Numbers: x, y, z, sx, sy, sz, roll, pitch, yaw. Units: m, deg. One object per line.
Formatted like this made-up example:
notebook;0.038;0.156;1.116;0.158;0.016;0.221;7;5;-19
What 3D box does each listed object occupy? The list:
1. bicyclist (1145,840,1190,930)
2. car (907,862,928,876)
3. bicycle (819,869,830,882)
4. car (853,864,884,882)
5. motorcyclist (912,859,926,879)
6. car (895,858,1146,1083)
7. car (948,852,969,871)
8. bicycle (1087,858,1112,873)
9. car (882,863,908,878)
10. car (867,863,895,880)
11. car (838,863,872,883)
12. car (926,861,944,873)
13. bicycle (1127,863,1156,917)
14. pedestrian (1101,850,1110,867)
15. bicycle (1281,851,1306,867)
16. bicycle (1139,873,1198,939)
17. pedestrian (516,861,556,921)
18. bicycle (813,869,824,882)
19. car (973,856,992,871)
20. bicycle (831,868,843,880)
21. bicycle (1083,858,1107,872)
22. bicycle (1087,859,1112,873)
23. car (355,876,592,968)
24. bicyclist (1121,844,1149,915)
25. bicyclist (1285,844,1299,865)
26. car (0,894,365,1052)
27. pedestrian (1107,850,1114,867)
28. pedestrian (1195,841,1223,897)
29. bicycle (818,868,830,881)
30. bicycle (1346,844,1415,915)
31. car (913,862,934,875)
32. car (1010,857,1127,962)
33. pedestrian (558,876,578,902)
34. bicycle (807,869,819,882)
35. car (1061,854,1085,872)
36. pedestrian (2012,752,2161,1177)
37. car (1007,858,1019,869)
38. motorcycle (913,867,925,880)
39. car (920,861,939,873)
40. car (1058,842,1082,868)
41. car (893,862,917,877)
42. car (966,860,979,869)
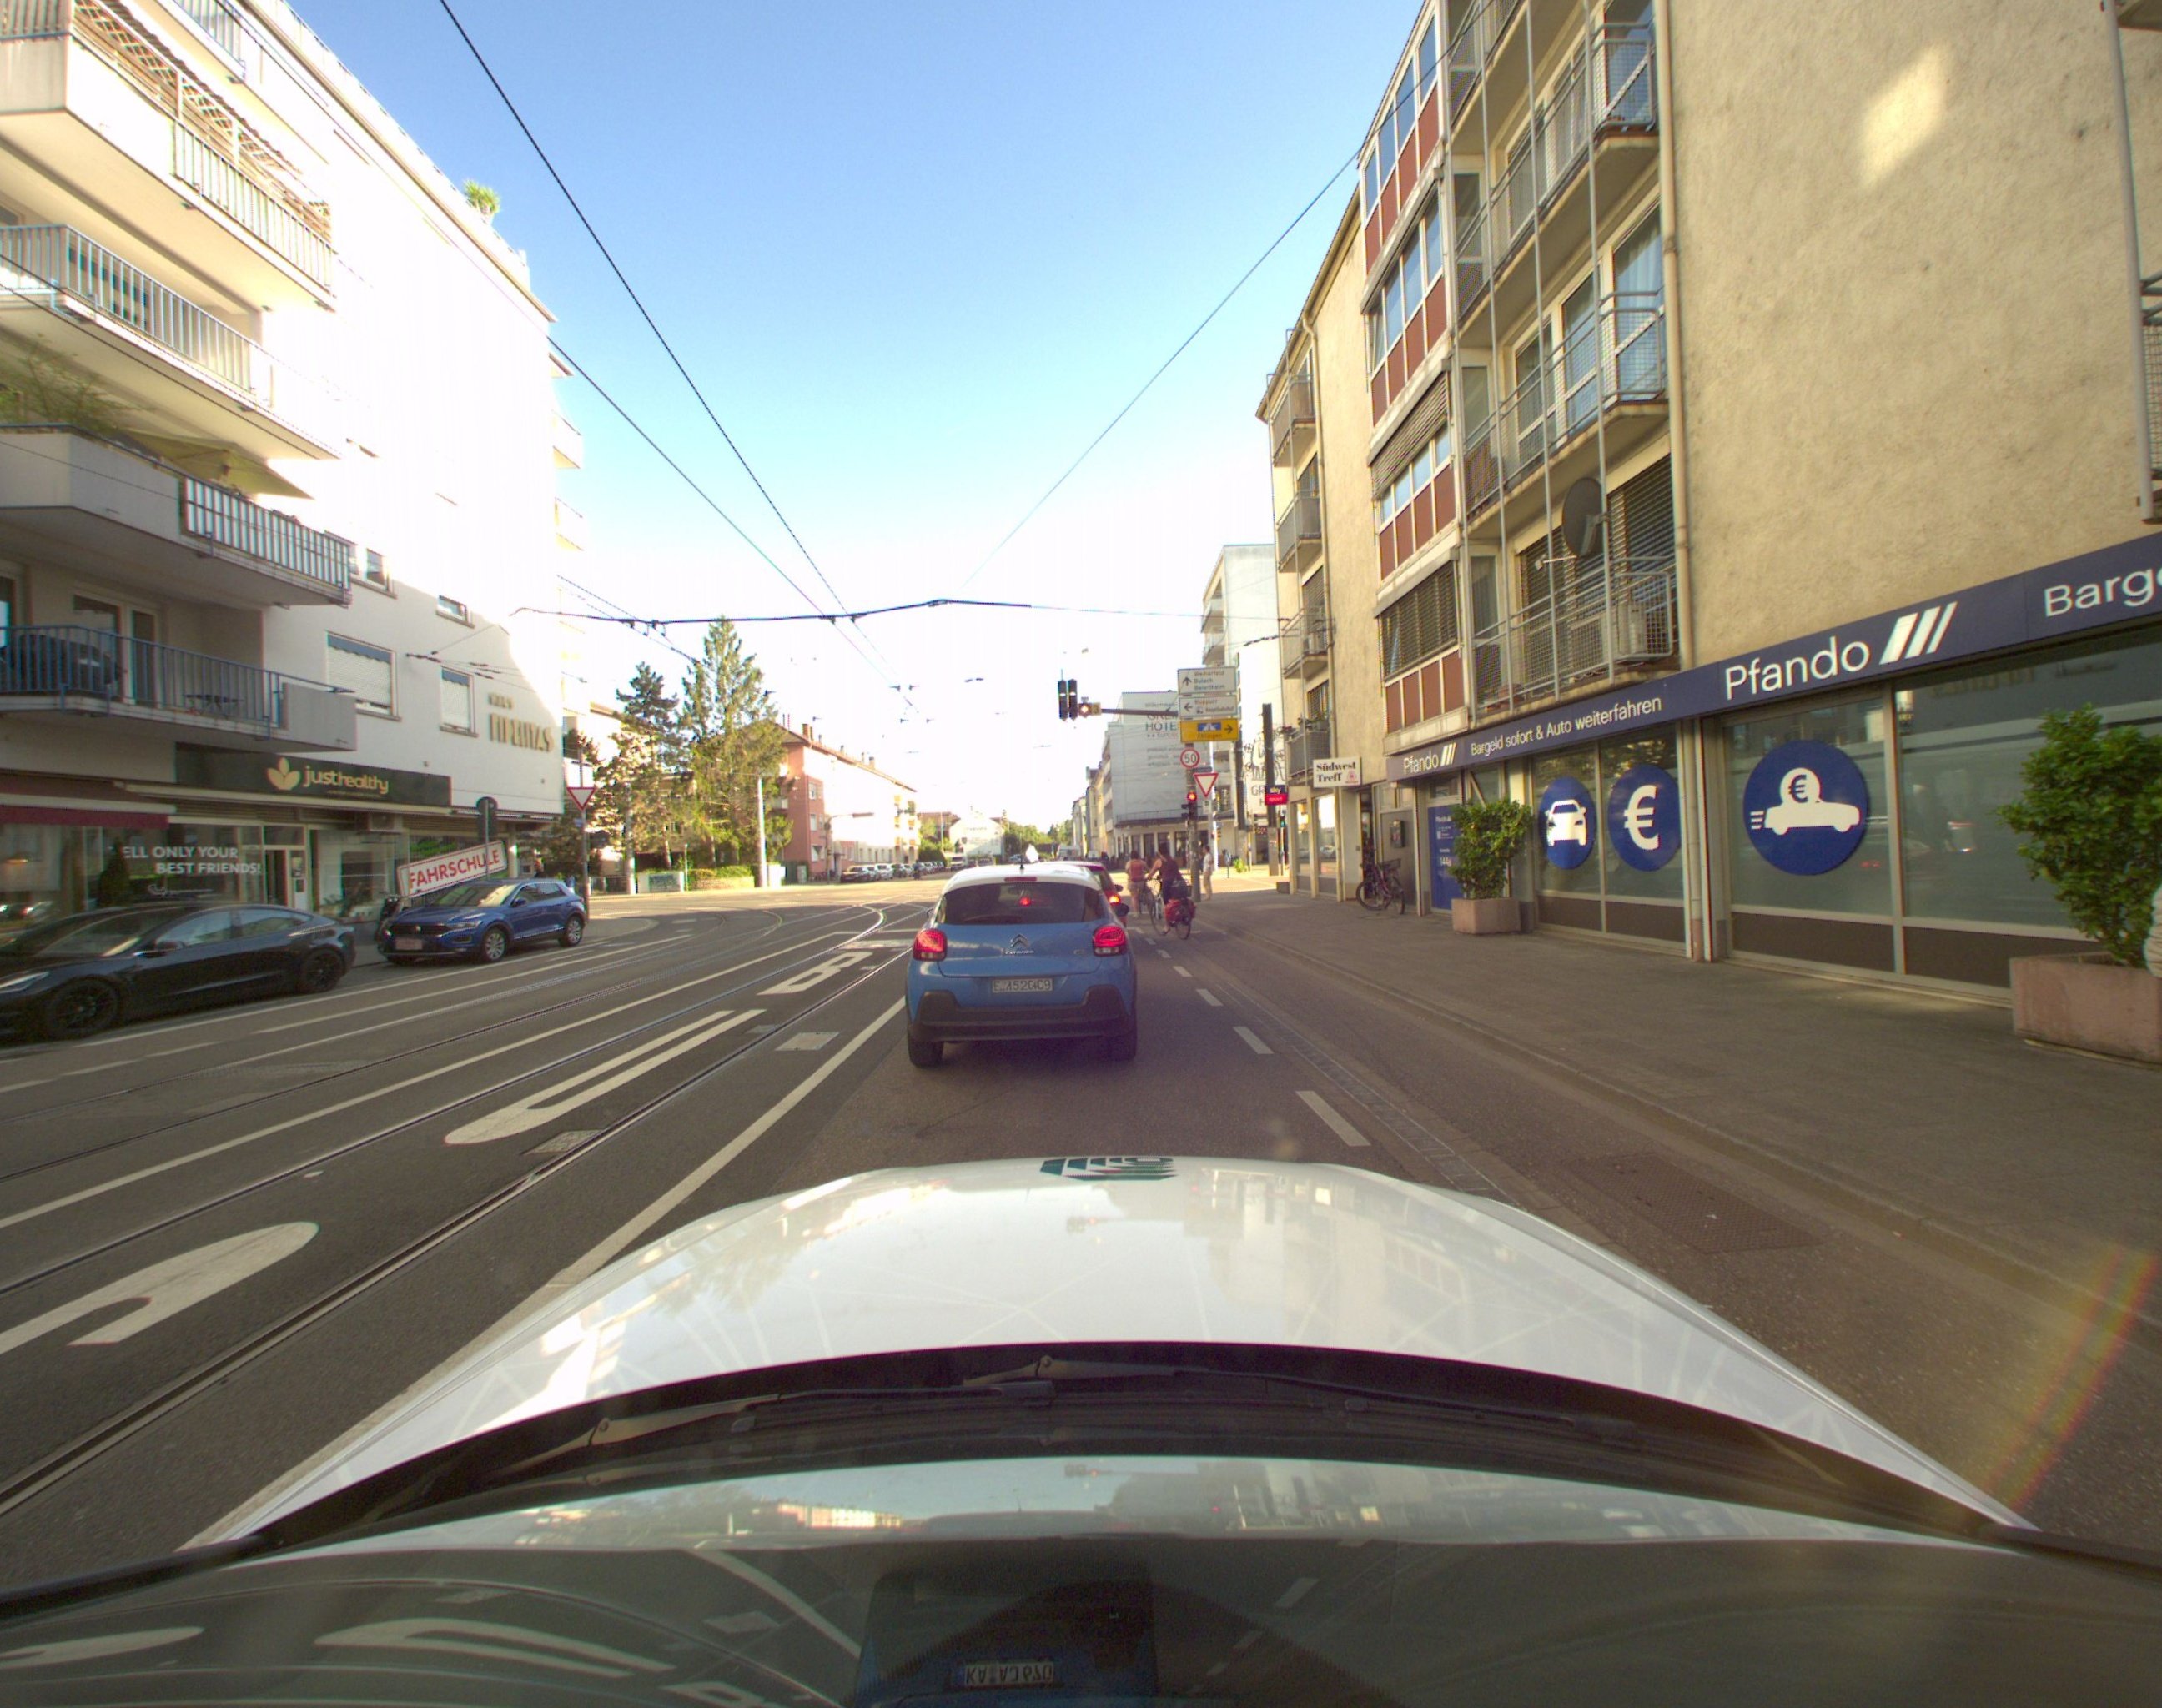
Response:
bicyclist;1.635;0.573;15.449;0.616;1.629;0.757;-2;0;-9
car;-19.853;1.781;99.034;1.947;1.519;3.995;-2;0;-4
bicycle;-21.597;1.791;68.481;0.537;1.082;1.905;-2;0;-9
car;-19.572;1.715;75.252;1.947;1.519;4.040;-2;0;-4
motorcyclist;-13.475;1.266;67.702;0.990;1.631;0.737;-2;0;-7
car;-0.454;0.790;7.508;1.675;1.462;3.997;-1;0;-2
car;-18.127;1.097;120.585;2.489;2.712;5.828;-2;0;-5
bicycle;1.515;0.926;65.944;1.901;1.064;0.641;-2;0;-6
car;-19.731;1.735;86.537;1.947;1.519;3.995;-2;0;-4
car;-19.561;1.681;79.864;1.947;1.519;3.995;-2;0;-4
car;-19.292;1.598;69.629;1.947;1.519;3.995;-2;0;-4
car;-20.726;1.846;115.692;1.947;1.519;3.995;-2;0;-4
bicycle;1.531;0.885;20.735;0.611;1.264;1.911;-2;0;2
pedestrian;2.102;0.391;70.388;0.520;1.420;0.550;-3;0;22
bicycle;14.764;0.360;56.595;1.474;1.091;0.609;-3;0;39
bicycle;1.638;0.950;15.514;0.616;1.103;1.880;-2;0;-9
pedestrian;-17.346;1.172;25.933;0.761;1.834;0.725;-3;0;28
bicycle;-21.975;1.791;68.196;0.537;1.082;1.905;-2;0;-9
car;-11.940;1.124;98.704;2.002;1.627;5.044;-2;0;-5
bicycle;-22.718;1.857;75.811;0.608;1.082;1.908;-2;0;-4
bicycle;1.159;0.948;68.453;1.901;1.064;0.641;-2;0;-6
bicycle;1.524;0.956;67.250;1.901;1.064;0.641;-2;0;-6
car;-11.880;1.244;16.334;1.720;1.505;4.113;0;0;-2
bicyclist;1.367;0.631;20.702;0.598;1.746;1.084;-2;0;2
bicyclist;14.668;0.034;56.665;0.720;1.434;0.609;-3;0;39
car;-11.985;1.331;10.431;1.720;1.403;4.486;0;0;-2
pedestrian;2.522;0.375;70.126;0.467;1.420;0.524;-2;0;-11
pedestrian;3.838;0.451;24.424;0.747;1.635;0.742;-2;0;7
bicycle;-23.051;1.840;73.115;0.536;1.082;1.908;-2;0;-4
bicycle;5.757;0.455;15.748;0.637;1.264;1.911;-2;0;2
car;-20.098;1.795;104.048;1.947;1.519;3.995;-2;0;-4
car;-0.228;0.809;13.717;1.675;1.462;3.997;-1;0;-2
pedestrian;-35.066;2.379;55.669;0.805;1.702;0.681;-2;0;1
bicycle;-22.381;1.791;68.086;0.640;1.082;1.905;-2;0;-9
car;-0.717;0.738;67.995;1.783;1.359;3.909;-2;0;-4
pedestrian;4.394;0.383;2.994;0.871;1.571;0.868;-4;0;-1
car;-14.267;1.970;171.420;2.333;2.039;5.044;-2;0;-4
motorcycle;-13.485;1.594;67.770;0.751;0.976;2.092;-2;0;-7
car;-20.299;1.768;109.336;1.947;1.519;3.995;-2;0;-4
car;-1.040;0.081;73.456;2.074;2.269;5.647;-1;0;-2
car;-19.982;1.786;92.605;1.947;1.519;3.995;-2;0;-4
car;-19.339;1.809;145.253;1.947;1.519;3.995;-2;0;-4
